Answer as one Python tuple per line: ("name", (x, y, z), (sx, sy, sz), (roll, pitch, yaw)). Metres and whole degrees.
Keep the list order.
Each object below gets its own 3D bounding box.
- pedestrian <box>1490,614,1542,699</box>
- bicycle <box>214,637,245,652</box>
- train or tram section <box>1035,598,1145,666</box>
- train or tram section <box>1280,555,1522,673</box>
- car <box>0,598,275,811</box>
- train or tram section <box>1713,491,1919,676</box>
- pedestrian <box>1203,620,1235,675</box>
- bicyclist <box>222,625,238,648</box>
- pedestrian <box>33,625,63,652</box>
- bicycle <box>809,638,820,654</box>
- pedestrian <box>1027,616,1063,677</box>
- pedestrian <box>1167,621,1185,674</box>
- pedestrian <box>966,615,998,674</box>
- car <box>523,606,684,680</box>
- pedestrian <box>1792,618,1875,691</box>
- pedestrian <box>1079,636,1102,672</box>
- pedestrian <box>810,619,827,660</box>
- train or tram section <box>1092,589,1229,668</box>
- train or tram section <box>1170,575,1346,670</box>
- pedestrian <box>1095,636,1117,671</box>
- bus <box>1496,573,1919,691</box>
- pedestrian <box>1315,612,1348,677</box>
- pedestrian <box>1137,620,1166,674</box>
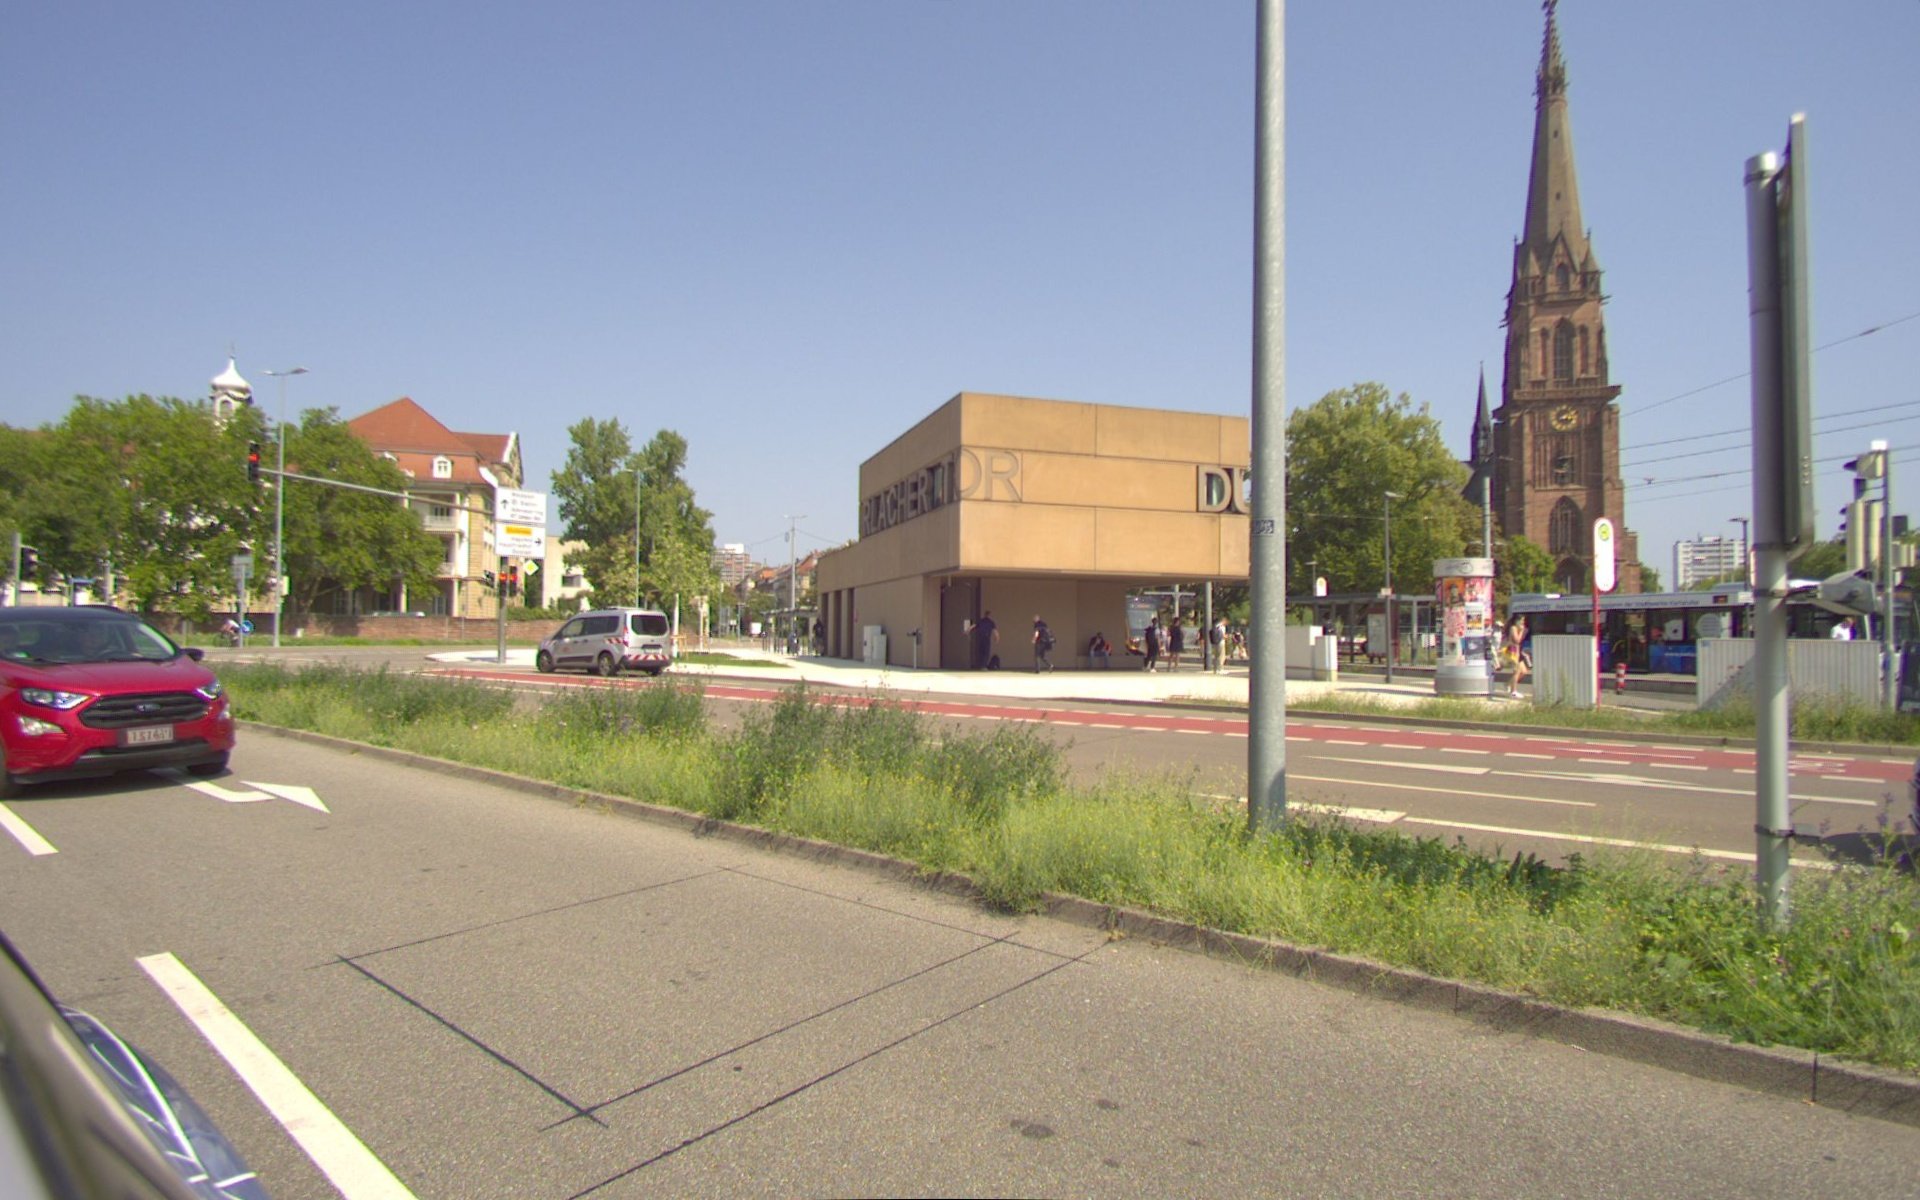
("pedestrian", (11.604, 1.167, 21.128), (0.774, 1.715, 0.630), (1, 0, -31))
("bicycle", (-41.243, 2.517, 57.135), (0.433, 0.818, 1.479), (0, -2, 14))
("train or tram section", (7.401, 1.964, 59.215), (3.107, 3.625, 8.270), (2, -4, -18))
("train or tram section", (15.162, 0.682, 35.780), (3.091, 3.597, 8.269), (3, -4, -18))
("car", (-8.498, 0.825, 9.548), (3.984, 1.627, 1.827), (-1, -1, 30))
("train or tram section", (20.373, -0.293, 20.165), (3.091, 3.597, 8.269), (3, -4, -18))
("pedestrian", (8.022, 1.463, 31.315), (0.808, 1.682, 0.544), (-1, -3, 39))
("bicyclist", (-41.228, 2.067, 57.181), (0.429, 1.242, 0.538), (-1, -3, 15))
("pedestrian", (-69.252, 2.899, 76.856), (1.217, 2.029, 1.072), (1, -3, -2))
("bicycle", (-9.545, 3.027, 66.325), (0.518, 1.048, 1.775), (2, -3, -16))
("pedestrian", (2.426, 1.311, 28.786), (0.808, 1.715, 0.638), (-1, -3, 39))
("pedestrian", (6.671, 1.458, 31.315), (0.485, 1.626, 0.509), (0, -2, 5))
("pedestrian", (0.650, 1.281, 29.415), (0.742, 1.701, 0.628), (0, -2, 23))
("car", (-9.946, 1.205, 28.146), (4.323, 1.874, 1.977), (-1, -5, 35))
("pedestrian", (23.472, 1.453, 27.224), (1.021, 1.900, 1.314), (2, -2, -16))
("pedestrian", (4.070, 1.683, 31.666), (0.531, 1.092, 0.502), (1, -2, -19))
("pedestrian", (-5.957, 1.652, 42.613), (0.559, 1.691, 0.537), (1, -3, -19))
("train or tram section", (9.977, 1.550, 51.387), (3.091, 3.597, 8.269), (3, -4, -18))
("train or tram section", (12.558, 1.113, 43.590), (3.091, 3.597, 8.269), (3, -4, -18))
("pedestrian", (4.596, 1.677, 31.848), (0.531, 1.092, 0.502), (1, -2, -19))
("bus", (23.769, 1.057, 33.022), (3.053, 3.094, 12.520), (1, -2, -18))
("pedestrian", (10.298, 1.233, 28.035), (0.685, 1.777, 0.553), (2, -2, -31))
("pedestrian", (5.802, 1.422, 30.620), (0.628, 1.626, 0.694), (1, -2, -13))
